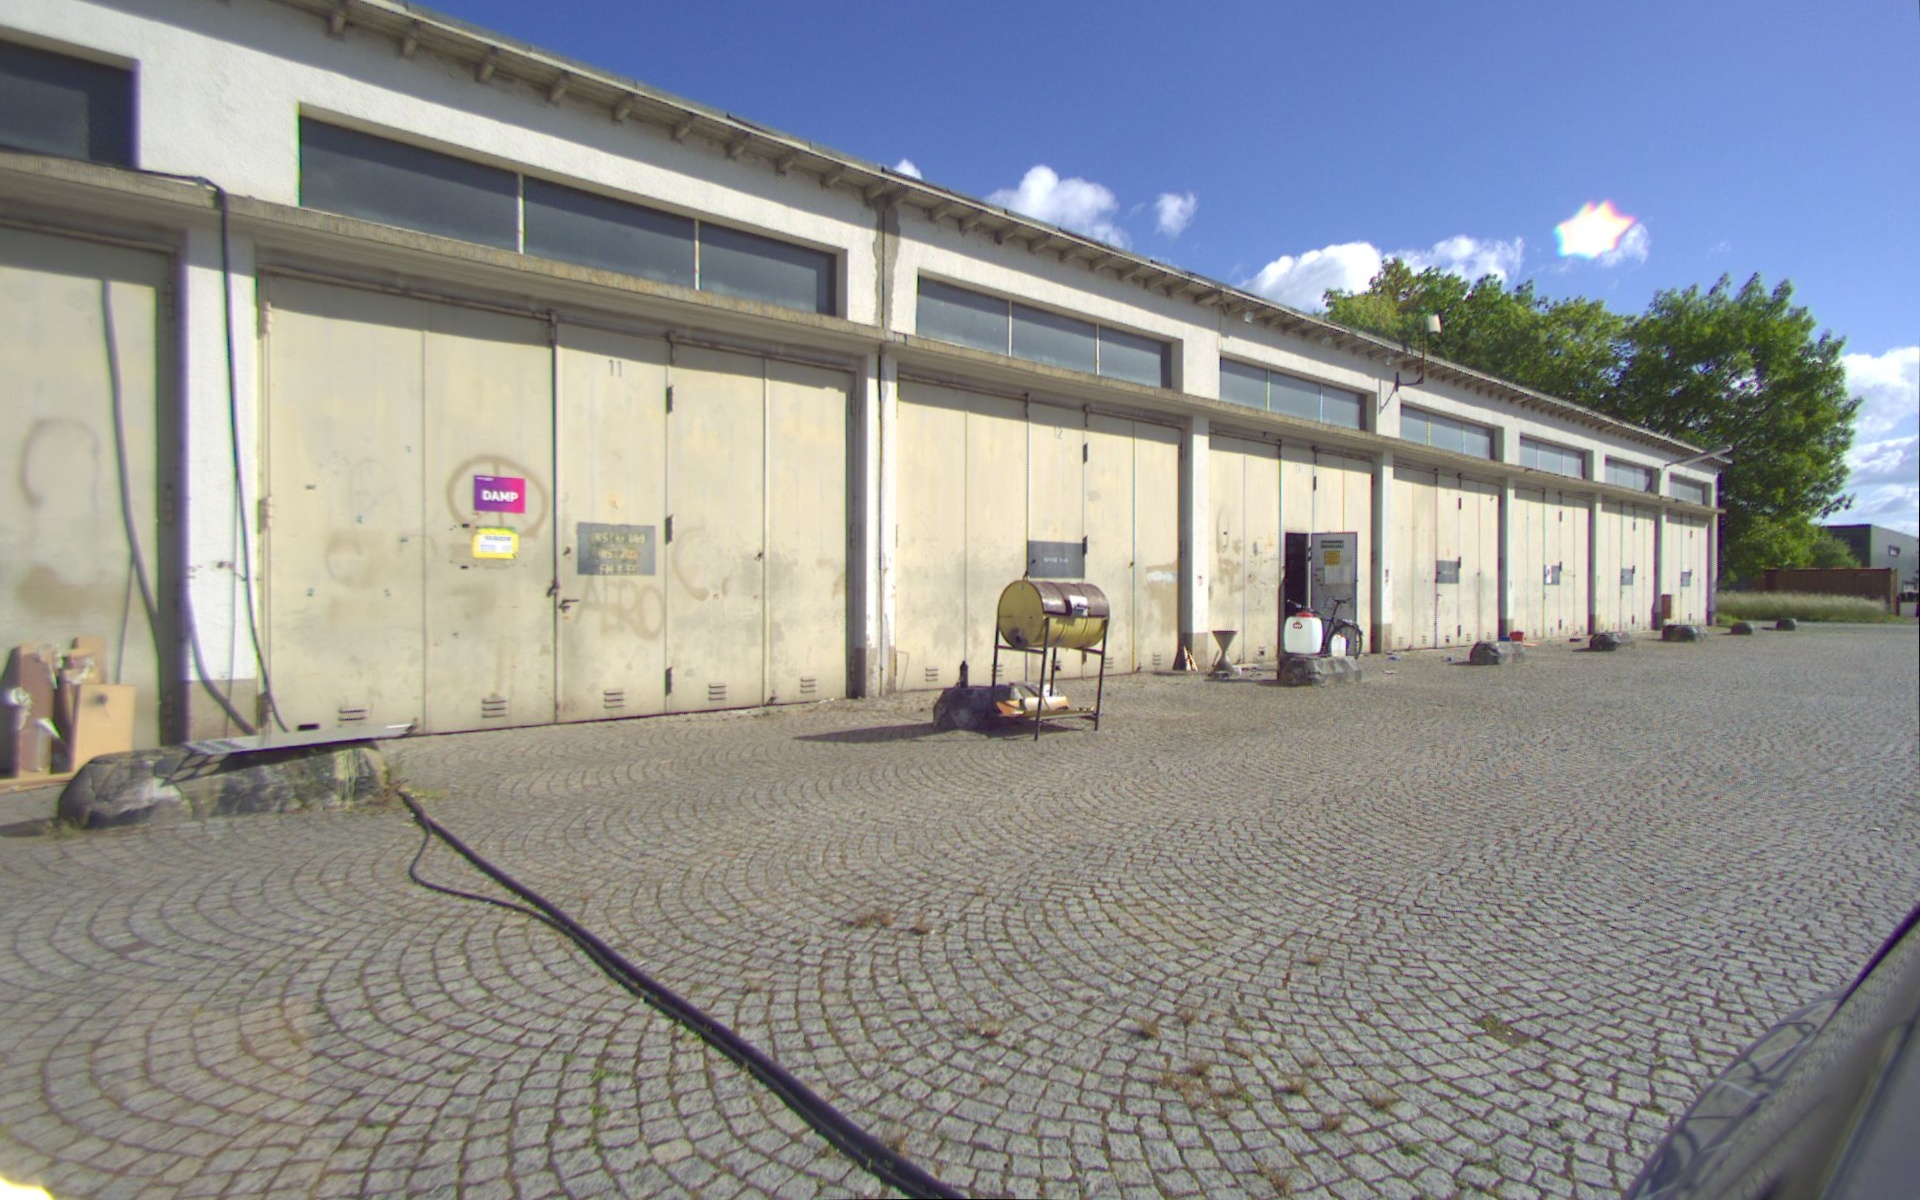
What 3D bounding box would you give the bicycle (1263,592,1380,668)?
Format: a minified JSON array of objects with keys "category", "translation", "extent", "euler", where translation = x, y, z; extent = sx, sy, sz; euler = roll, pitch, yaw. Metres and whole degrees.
[{"category":"bicycle","translation":[5.617,0.447,15.714],"extent":[1.787,1.081,0.667],"euler":[-2,0,-29]}]
